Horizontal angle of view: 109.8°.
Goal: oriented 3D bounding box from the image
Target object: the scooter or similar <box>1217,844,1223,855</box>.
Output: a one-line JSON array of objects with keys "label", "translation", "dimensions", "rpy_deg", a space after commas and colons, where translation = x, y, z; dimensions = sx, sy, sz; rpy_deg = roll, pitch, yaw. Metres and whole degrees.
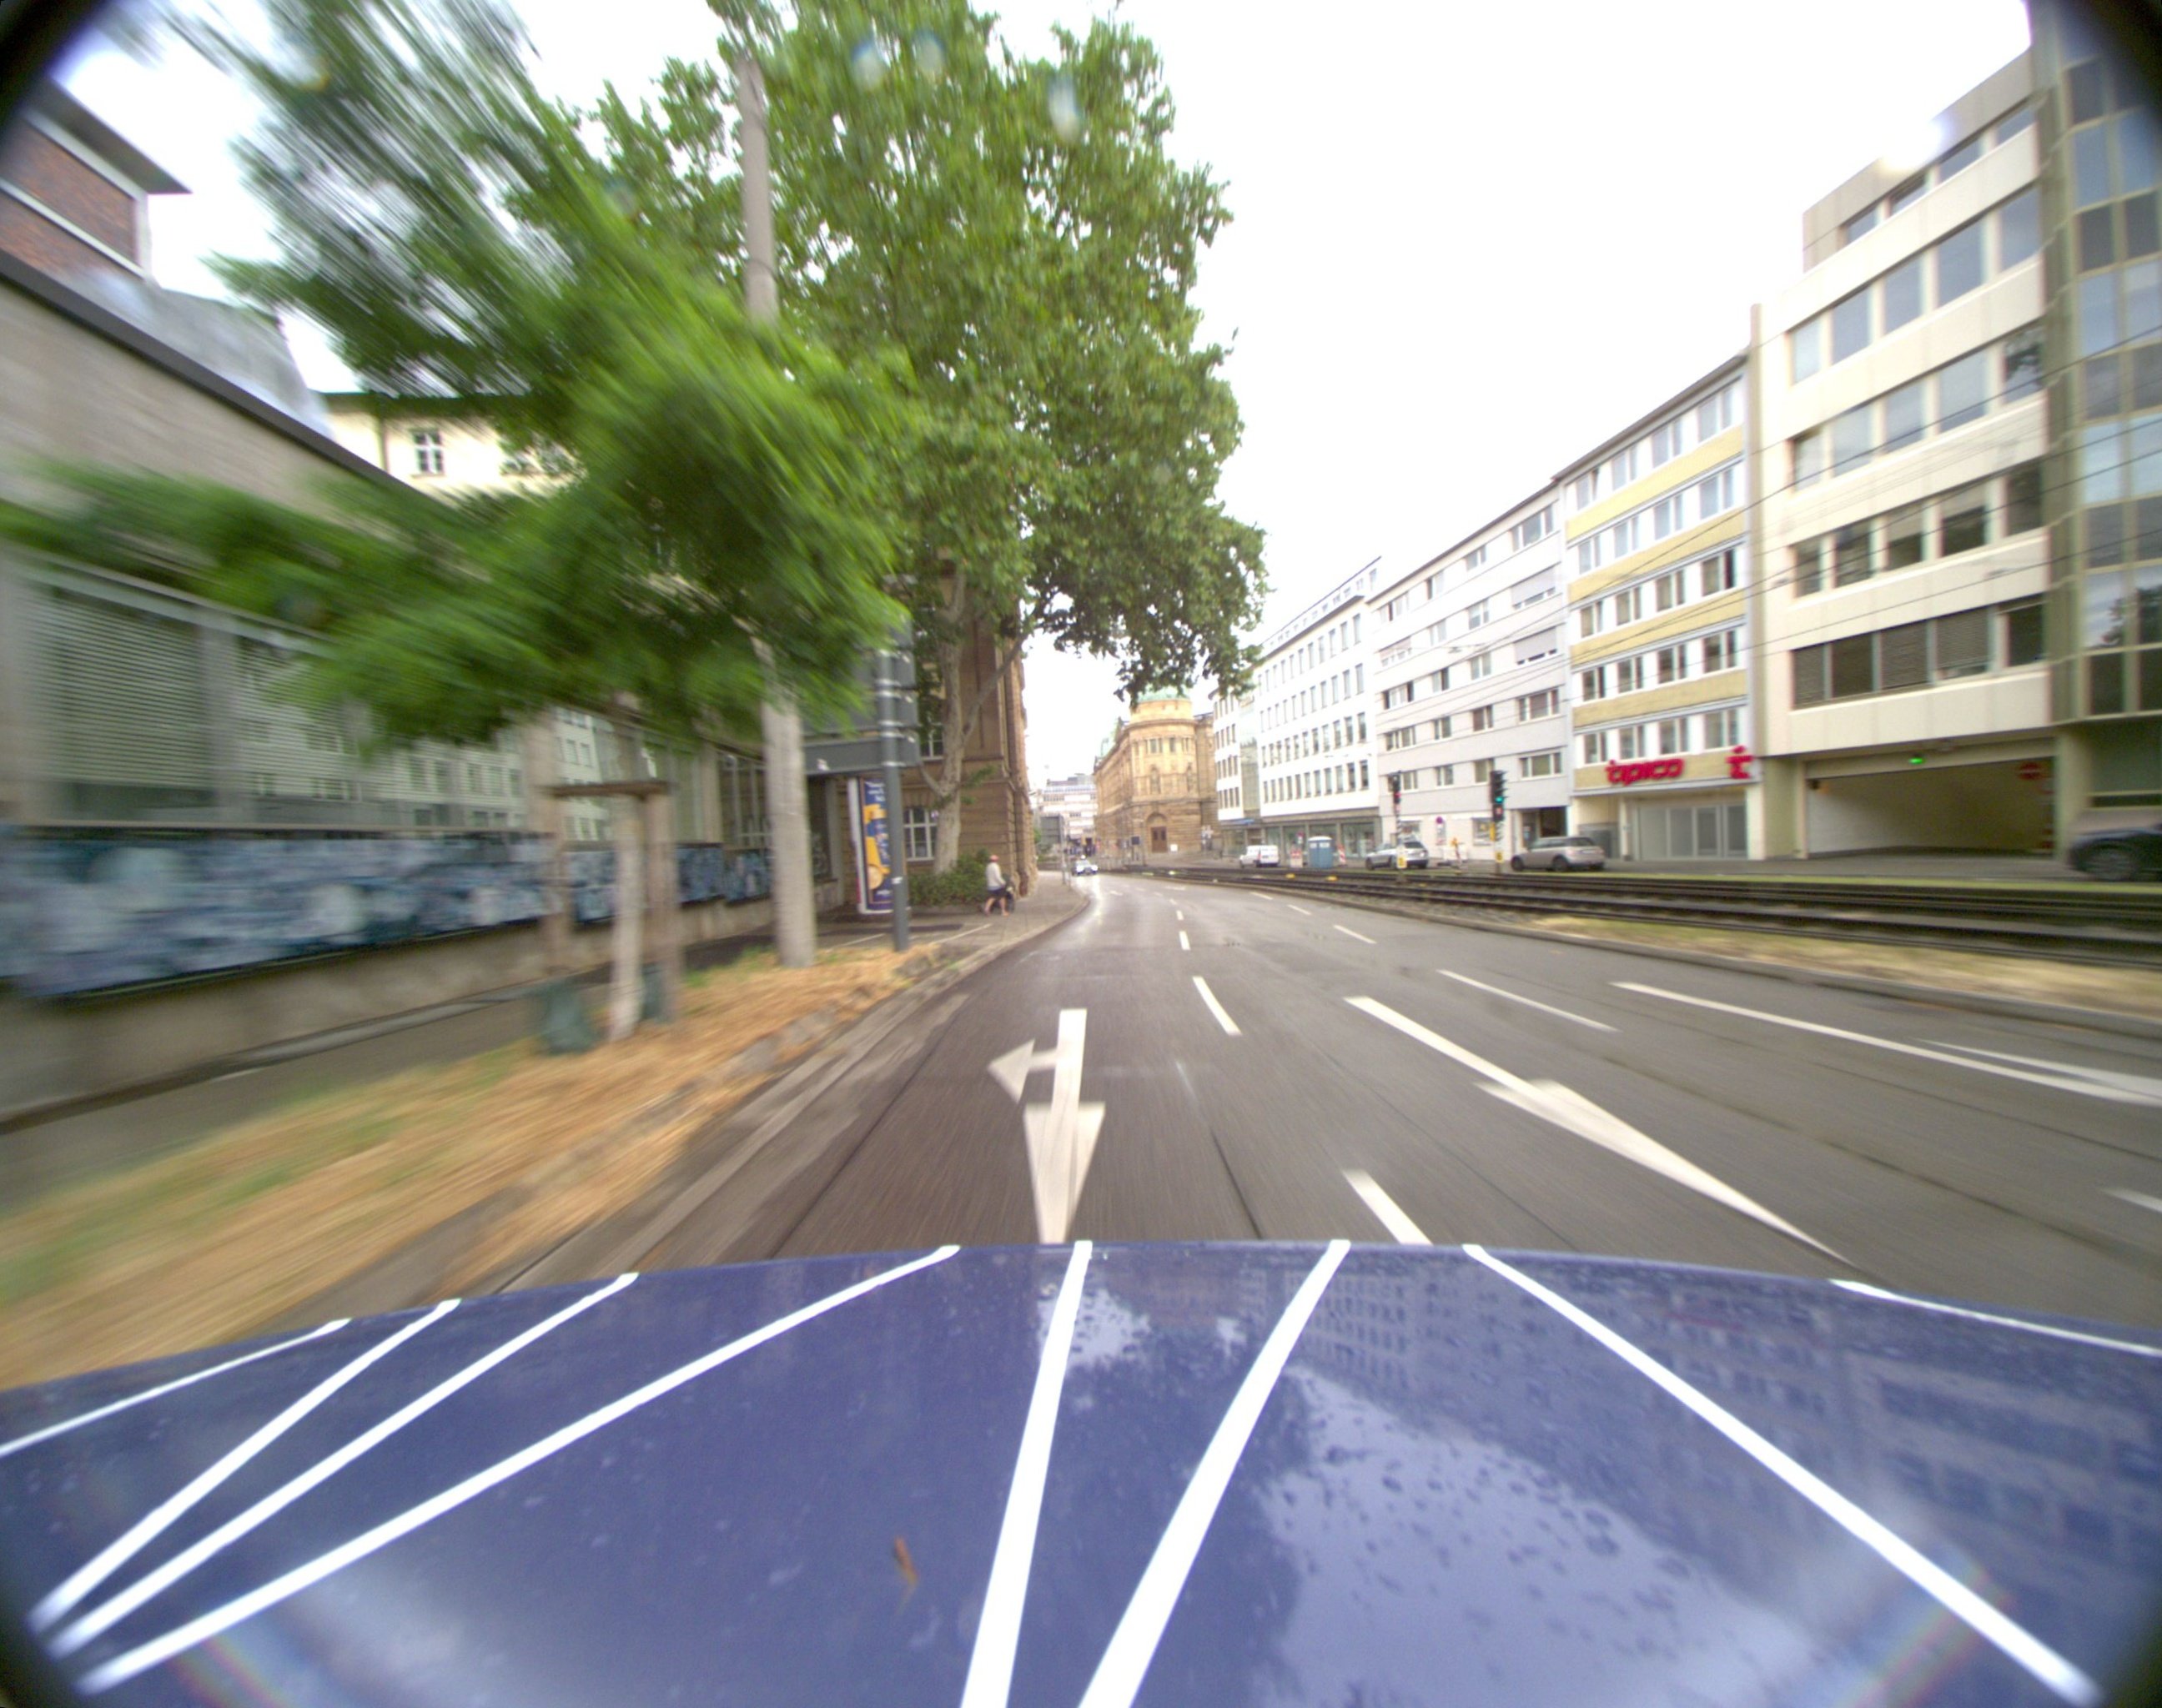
[{"label": "scooter or similar", "translation": [16.950, -0.526, 92.596], "dimensions": [0.410, 1.194, 1.561], "rpy_deg": [-5, 2, 17]}]

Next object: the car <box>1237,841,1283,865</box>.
[{"label": "car", "translation": [15.183, -0.126, 64.670], "dimensions": [2.000, 1.832, 5.127], "rpy_deg": [-5, 2, -8]}]

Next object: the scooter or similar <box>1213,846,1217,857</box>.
[{"label": "scooter or similar", "translation": [16.377, -0.293, 92.706], "dimensions": [0.410, 1.194, 1.560], "rpy_deg": [-5, 2, 10]}]

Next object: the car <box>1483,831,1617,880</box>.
[{"label": "car", "translation": [18.727, 0.020, 30.641], "dimensions": [2.000, 1.664, 4.691], "rpy_deg": [-5, 2, -8]}]

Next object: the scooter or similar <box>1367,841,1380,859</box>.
[{"label": "scooter or similar", "translation": [19.955, -0.268, 51.862], "dimensions": [0.382, 1.196, 0.973], "rpy_deg": [-5, 2, -7]}]

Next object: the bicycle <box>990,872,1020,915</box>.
[{"label": "bicycle", "translation": [-2.287, 1.169, 22.821], "dimensions": [0.620, 1.213, 0.911], "rpy_deg": [-2, 0, 11]}]

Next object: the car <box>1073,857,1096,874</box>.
[{"label": "car", "translation": [0.336, 1.144, 74.998], "dimensions": [1.999, 1.458, 4.642], "rpy_deg": [-4, 0, -2]}]

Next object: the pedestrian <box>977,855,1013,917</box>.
[{"label": "pedestrian", "translation": [-2.457, 0.913, 21.840], "dimensions": [0.719, 1.732, 1.020], "rpy_deg": [-1, 0, 10]}]

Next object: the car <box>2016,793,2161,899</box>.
[{"label": "car", "translation": [20.734, -0.185, 13.576], "dimensions": [2.000, 1.840, 4.691], "rpy_deg": [-5, 2, -8]}]

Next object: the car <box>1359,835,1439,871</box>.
[{"label": "car", "translation": [17.477, -0.019, 42.065], "dimensions": [1.999, 1.664, 4.693], "rpy_deg": [-6, 0, -5]}]
